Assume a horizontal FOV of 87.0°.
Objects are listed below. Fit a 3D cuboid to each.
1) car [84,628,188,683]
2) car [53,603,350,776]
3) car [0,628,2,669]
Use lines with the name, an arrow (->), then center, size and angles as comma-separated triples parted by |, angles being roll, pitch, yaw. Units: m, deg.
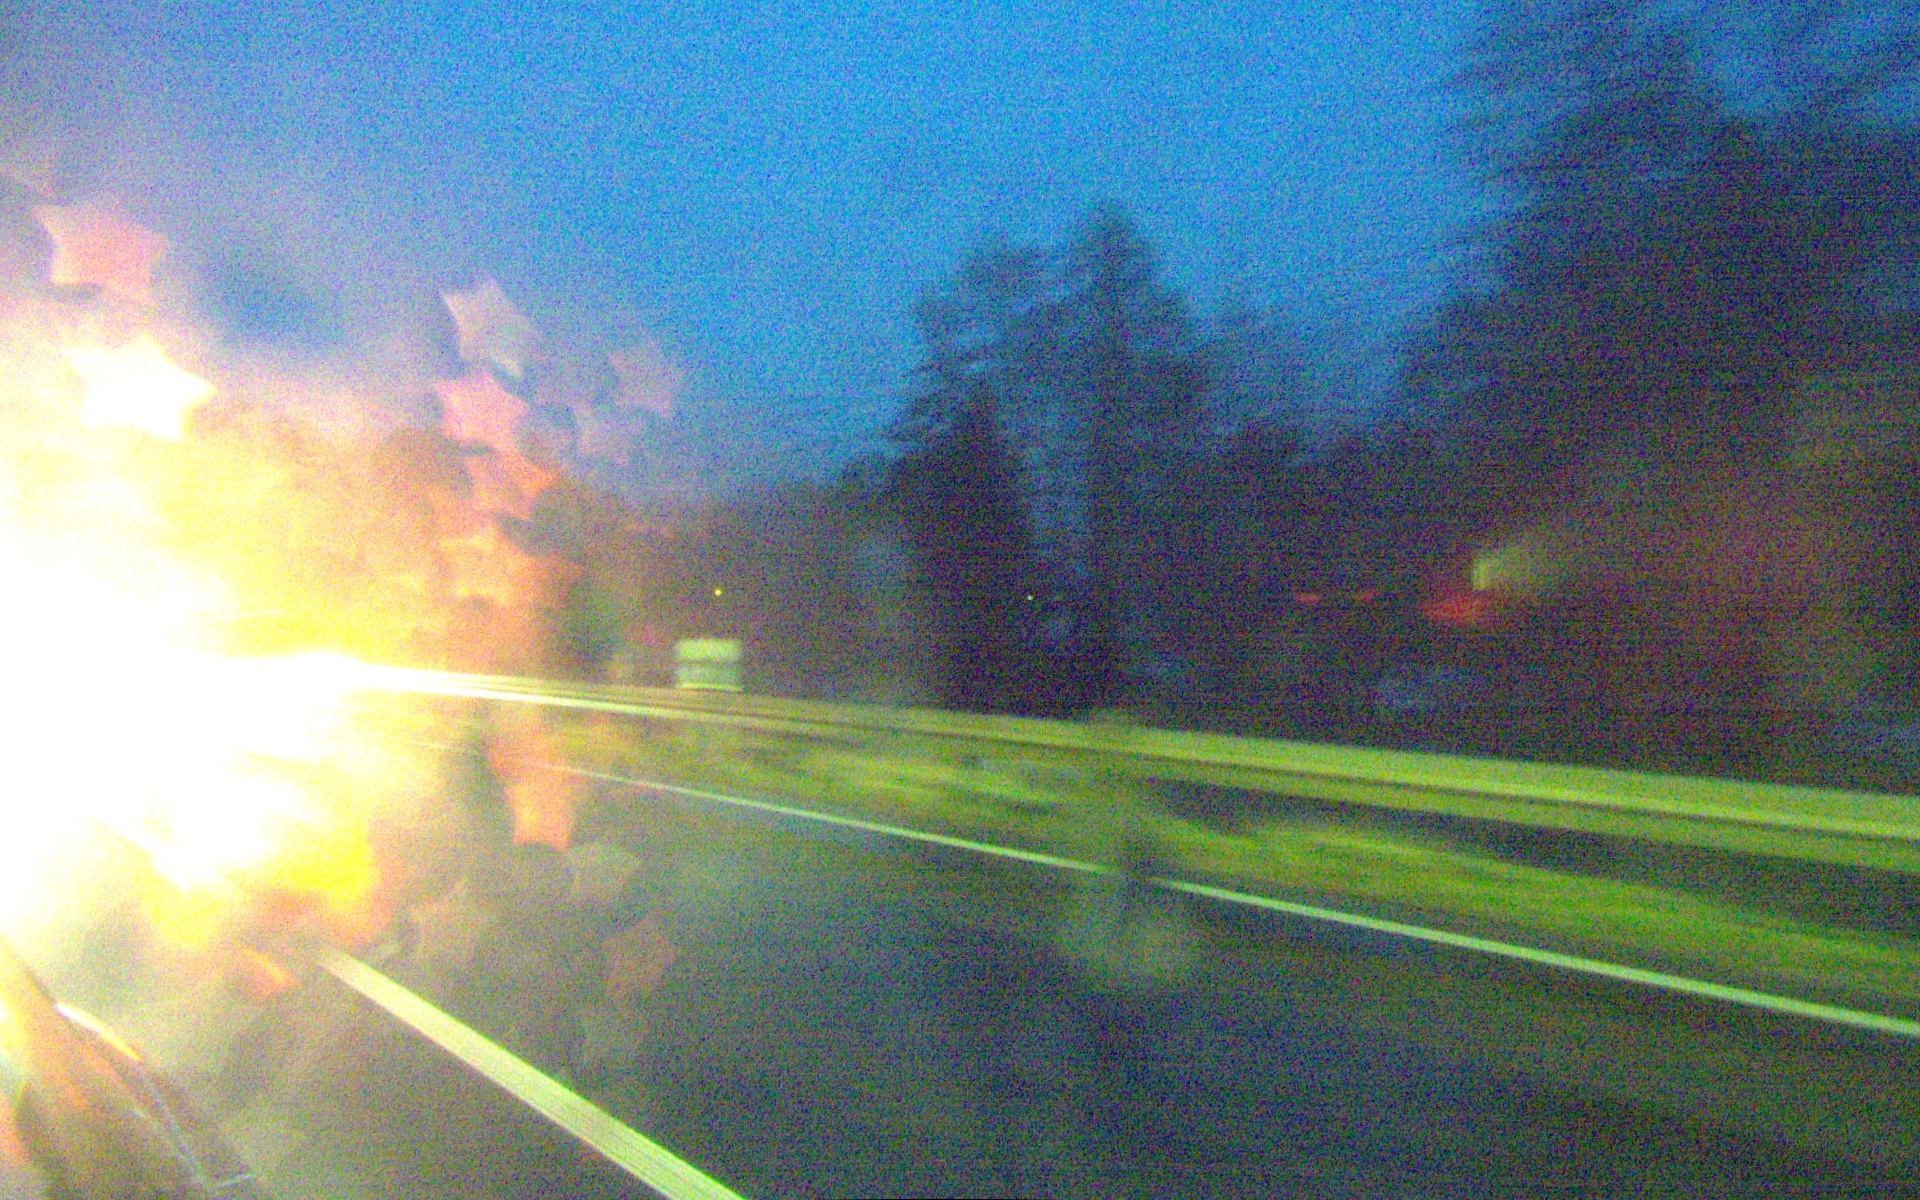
car -> -25.944, 1.693, 31.820 | 4.439, 1.566, 1.811 | -2, -2, 41
car -> -8.759, 0.846, 11.537 | 4.439, 1.566, 1.811 | -1, 0, 41
car -> -40.741, 1.966, 41.343 | 4.820, 1.651, 1.926 | -1, 0, 42
